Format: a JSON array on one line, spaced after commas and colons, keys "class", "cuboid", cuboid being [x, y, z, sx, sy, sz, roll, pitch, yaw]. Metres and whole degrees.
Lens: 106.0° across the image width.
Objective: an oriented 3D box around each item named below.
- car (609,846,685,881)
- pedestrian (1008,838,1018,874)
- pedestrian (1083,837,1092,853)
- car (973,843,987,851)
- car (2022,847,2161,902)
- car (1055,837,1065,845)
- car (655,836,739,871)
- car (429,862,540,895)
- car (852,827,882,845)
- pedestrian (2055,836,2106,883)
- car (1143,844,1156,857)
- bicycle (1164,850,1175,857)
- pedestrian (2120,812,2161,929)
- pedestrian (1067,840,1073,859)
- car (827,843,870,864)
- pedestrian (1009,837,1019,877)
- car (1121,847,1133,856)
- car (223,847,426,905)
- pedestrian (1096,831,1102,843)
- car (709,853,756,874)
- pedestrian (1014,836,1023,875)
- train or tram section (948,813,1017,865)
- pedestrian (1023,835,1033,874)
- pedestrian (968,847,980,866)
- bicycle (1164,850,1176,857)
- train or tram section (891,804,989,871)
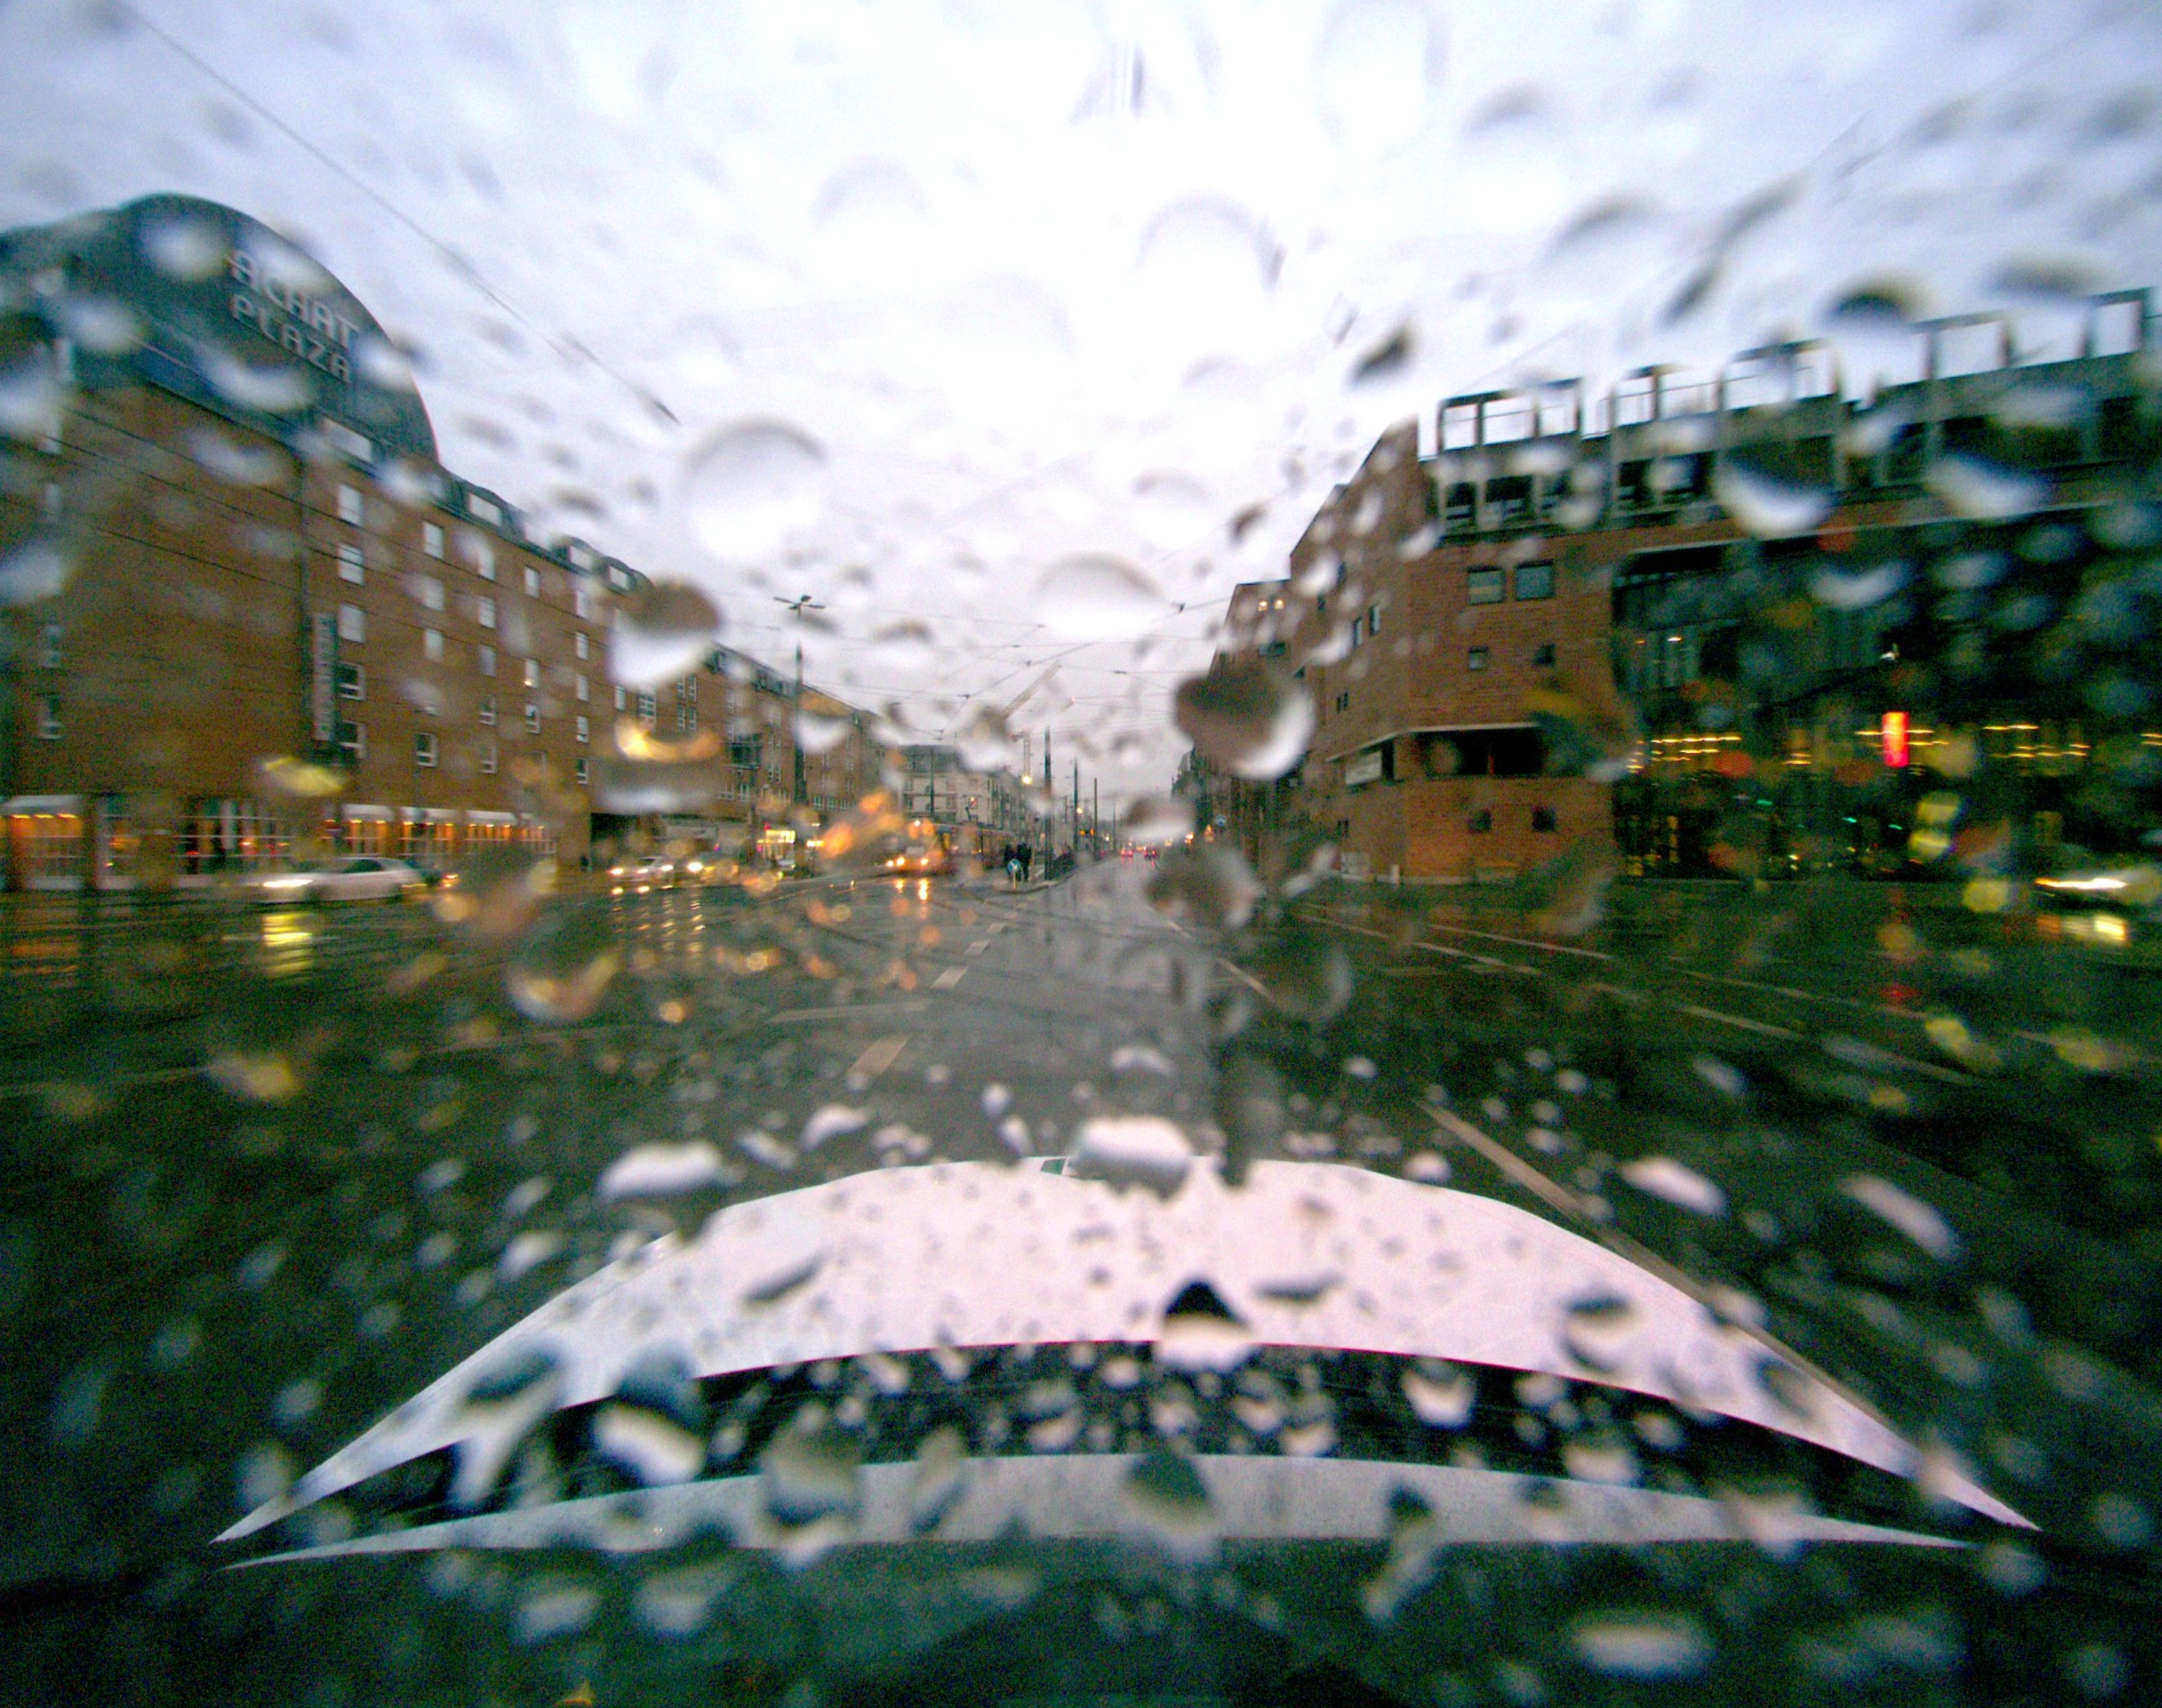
[{"class": "car", "cuboid": [-22.736, 0.463, 42.827, 1.676, 1.709, 3.860, 0, 1, 4]}, {"class": "pedestrian", "cuboid": [-3.338, 0.108, 39.930, 0.432, 1.735, 0.473, 0, 0, -1]}, {"class": "pedestrian", "cuboid": [0.672, -0.972, 88.041, 0.777, 1.703, 0.770, 0, 1, -14]}, {"class": "car", "cuboid": [-16.560, -1.121, 133.431, 1.674, 1.354, 3.549, 1, 1, 3]}, {"class": "car", "cuboid": [26.613, 0.480, 20.301, 3.960, 1.310, 1.818, 0, 1, 6]}, {"class": "car", "cuboid": [-3.917, -2.439, 152.028, 1.674, 1.354, 3.549, 1, 1, 3]}, {"class": "car", "cuboid": [-19.831, -0.057, 42.313, 1.821, 1.709, 4.711, 0, 1, 4]}, {"class": "car", "cuboid": [-27.875, 1.114, 38.248, 1.601, 1.321, 4.241, 0, 1, 10]}, {"class": "car", "cuboid": [-24.297, -2.043, 92.535, 1.984, 2.013, 4.005, 1, 1, 4]}, {"class": "pedestrian", "cuboid": [30.209, 0.152, 24.624, 0.730, 1.389, 0.741, 0, 1, 25]}, {"class": "car", "cuboid": [11.110, -0.592, 132.634, 1.983, 2.013, 4.008, 0, 1, 6]}, {"class": "bicycle", "cuboid": [13.460, -0.031, 123.719, 1.722, 1.055, 0.371, -2, 1, 3]}, {"class": "pedestrian", "cuboid": [16.864, 0.244, 12.573, 0.731, 1.787, 0.735, -1, 1, 1]}, {"class": "pedestrian", "cuboid": [-0.962, -0.380, 70.304, 0.538, 1.692, 0.644, 0, 0, 2]}, {"class": "car", "cuboid": [-15.614, -0.027, 54.771, 1.674, 1.354, 3.549, 1, 1, 3]}, {"class": "pedestrian", "cuboid": [-3.333, 0.151, 40.419, 0.432, 1.967, 0.473, 0, 0, -1]}, {"class": "car", "cuboid": [7.776, -0.437, 137.080, 1.775, 1.467, 3.154, 0, 1, 6]}, {"class": "car", "cuboid": [-21.529, 0.554, 23.447, 1.660, 1.495, 4.208, 0, 1, 5]}, {"class": "pedestrian", "cuboid": [2.261, -2.060, 100.473, 0.679, 1.516, 0.617, 0, 1, -8]}, {"class": "car", "cuboid": [-27.380, 0.706, 64.113, 1.605, 1.491, 4.232, 0, 1, 3]}, {"class": "pedestrian", "cuboid": [-2.903, 0.072, 37.700, 0.358, 1.786, 0.440, 0, 0, -1]}, {"class": "train or tram section", "cuboid": [-7.336, -1.159, 62.564, 2.911, 3.577, 11.051, 1, 1, 5]}, {"class": "pedestrian", "cuboid": [-2.494, 0.017, 38.295, 0.410, 1.845, 0.669, 0, 0, -1]}, {"class": "pedestrian", "cuboid": [-6.671, 0.152, 50.721, 0.577, 1.152, 0.491, 1, 1, 6]}, {"class": "bicycle", "cuboid": [13.506, -0.028, 123.102, 1.722, 1.055, 0.371, -2, 1, 3]}, {"class": "train or tram section", "cuboid": [-8.406, -0.982, 50.661, 2.936, 3.588, 12.273, 1, 1, 5]}]
